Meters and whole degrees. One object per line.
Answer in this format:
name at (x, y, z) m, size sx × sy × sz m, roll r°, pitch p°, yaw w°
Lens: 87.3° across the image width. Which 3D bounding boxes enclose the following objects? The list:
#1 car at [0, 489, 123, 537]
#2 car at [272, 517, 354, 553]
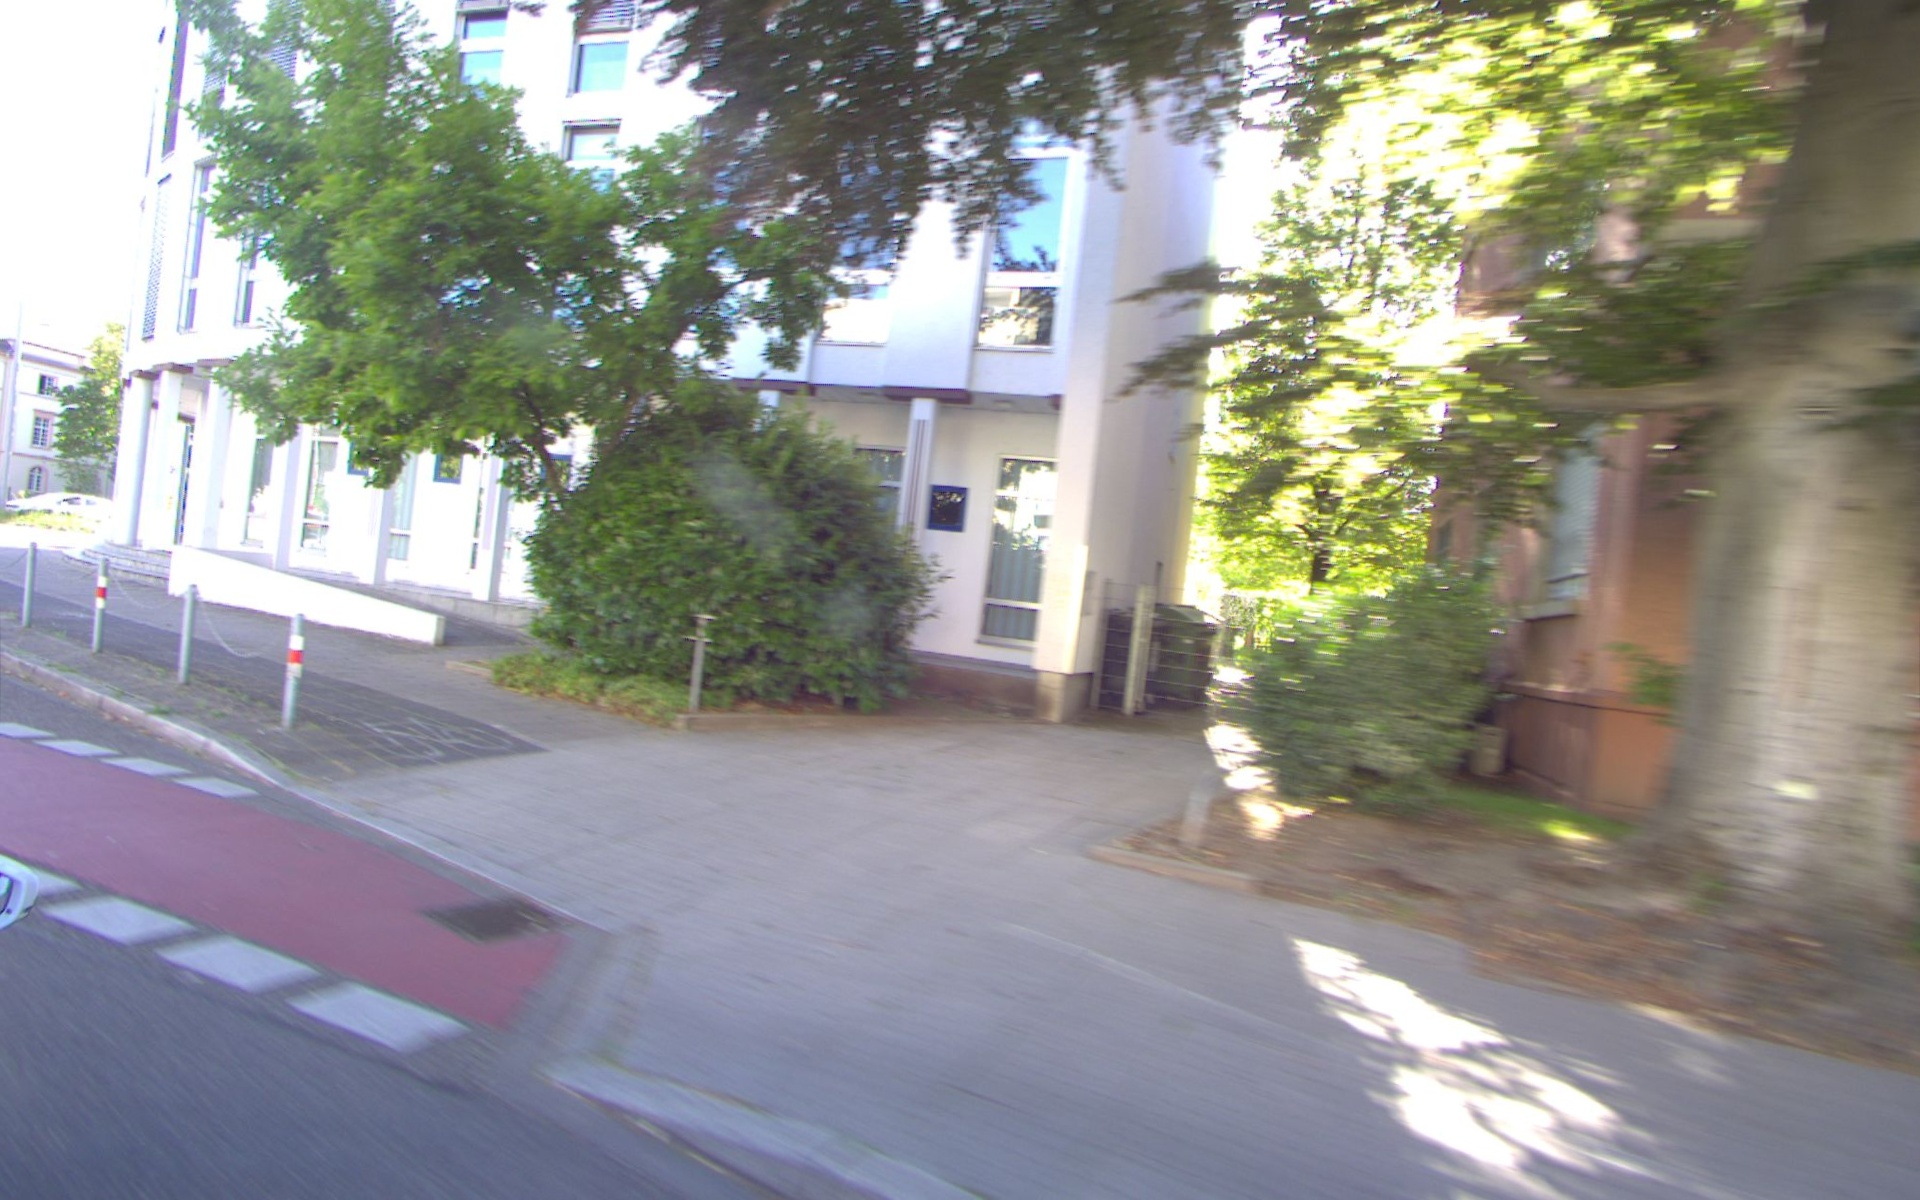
car at (-40.783, -3.907, 45.511) m, size 1.787 × 1.526 × 4.190 m, roll 7°, pitch -1°, yaw 13°
car at (-40.484, -4.050, 63.025) m, size 1.886 × 1.664 × 4.002 m, roll 7°, pitch 0°, yaw 13°
